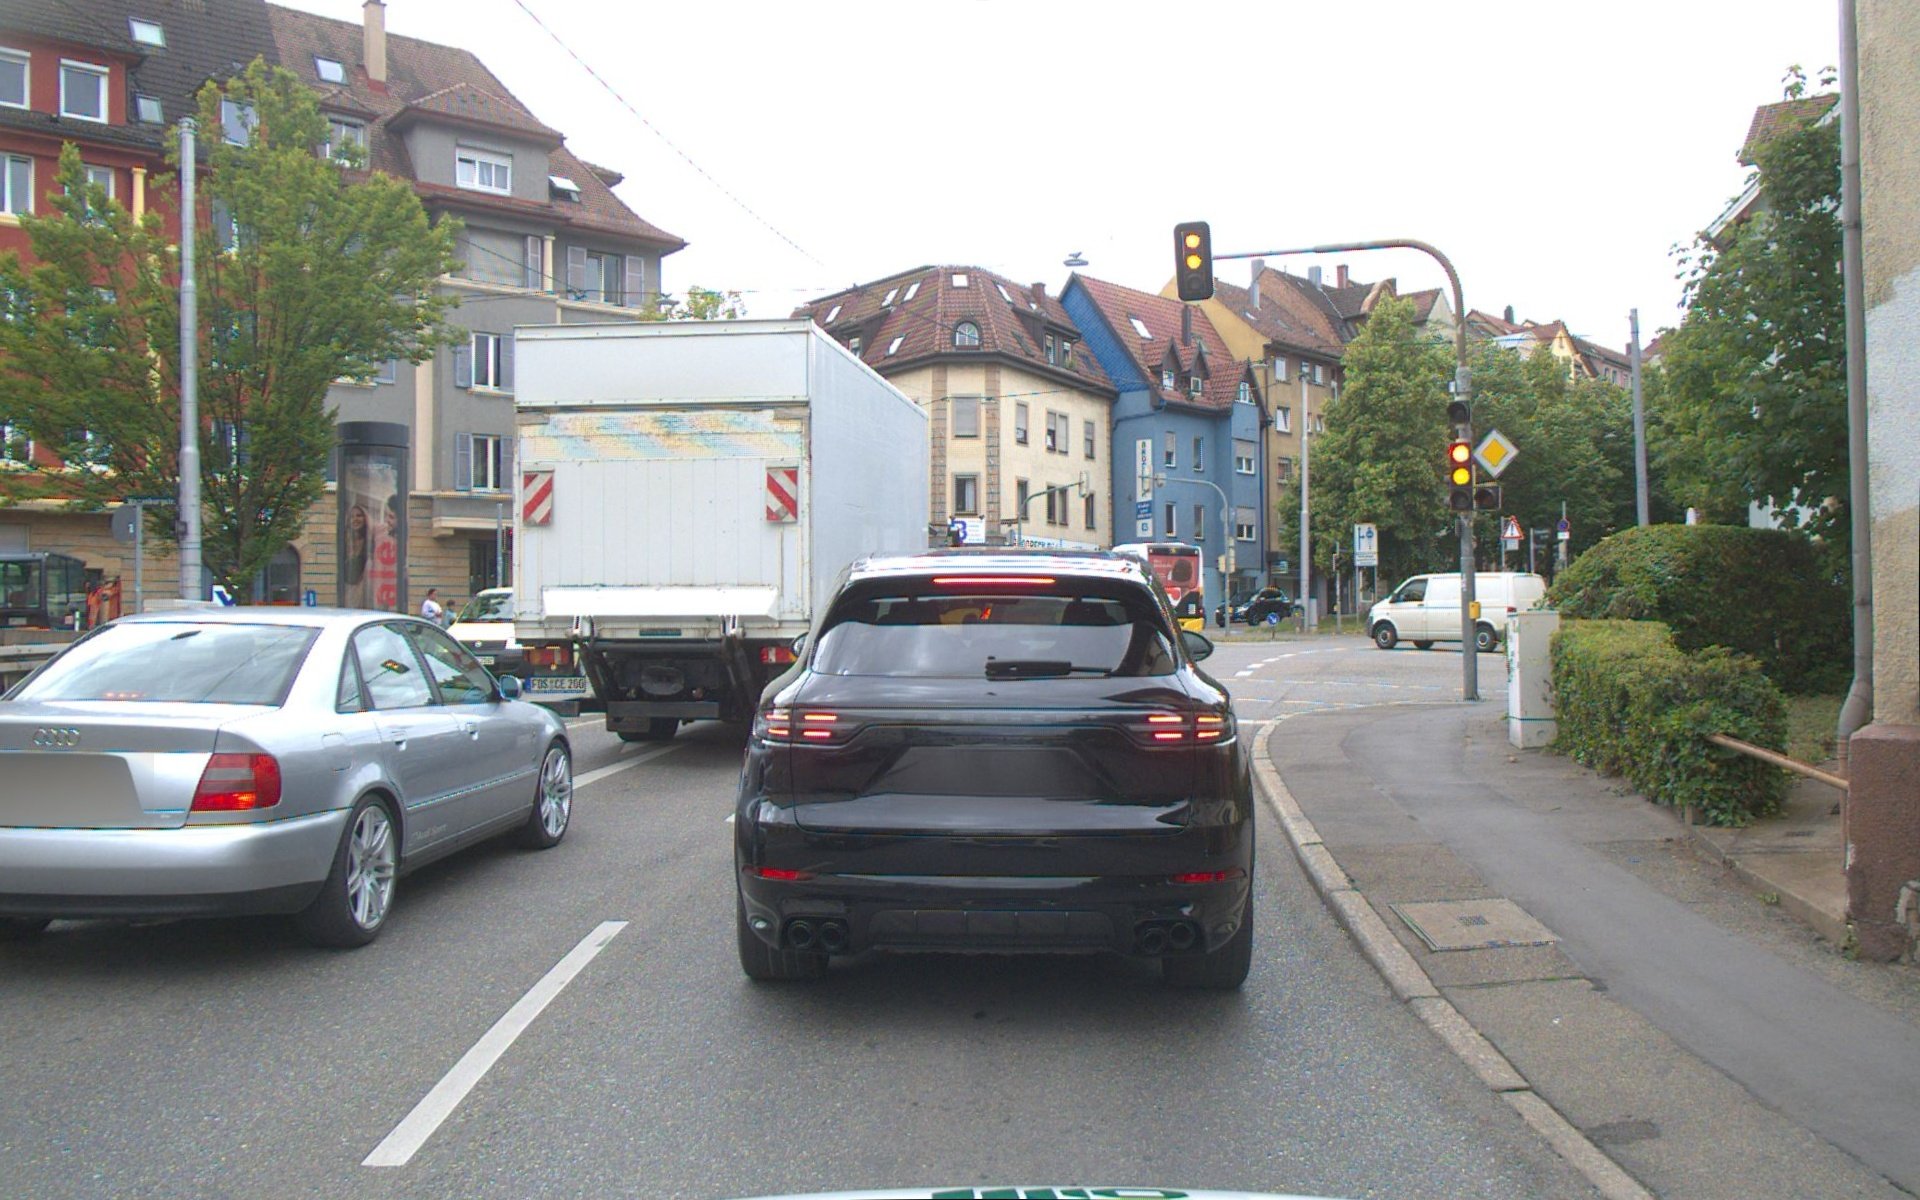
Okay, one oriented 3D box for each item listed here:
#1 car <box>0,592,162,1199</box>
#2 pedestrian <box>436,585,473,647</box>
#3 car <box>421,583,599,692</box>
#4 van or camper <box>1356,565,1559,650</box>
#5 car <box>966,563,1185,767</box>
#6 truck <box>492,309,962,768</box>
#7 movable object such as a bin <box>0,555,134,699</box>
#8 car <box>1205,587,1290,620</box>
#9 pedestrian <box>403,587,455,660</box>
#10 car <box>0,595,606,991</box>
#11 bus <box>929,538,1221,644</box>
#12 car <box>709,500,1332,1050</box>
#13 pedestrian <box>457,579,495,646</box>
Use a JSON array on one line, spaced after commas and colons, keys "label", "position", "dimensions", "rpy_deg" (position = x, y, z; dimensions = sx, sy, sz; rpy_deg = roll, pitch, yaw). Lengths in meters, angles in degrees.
[{"label": "car", "position": [-2.710, 0.721, 1.211], "dimensions": [1.953, 1.454, 4.841], "rpy_deg": [0, 0, -1]}, {"label": "pedestrian", "position": [-11.301, 0.351, 36.981], "dimensions": [0.563, 1.361, 0.583], "rpy_deg": [0, 0, 28]}, {"label": "car", "position": [-6.895, 0.548, 25.691], "dimensions": [1.564, 1.544, 3.461], "rpy_deg": [-1, 0, 4]}, {"label": "van or camper", "position": [12.679, 0.184, 42.424], "dimensions": [1.979, 2.049, 4.766], "rpy_deg": [1, 0, -37]}, {"label": "car", "position": [1.148, 0.520, 14.868], "dimensions": [1.613, 1.583, 3.586], "rpy_deg": [1, 0, 9]}, {"label": "truck", "position": [-1.873, -0.525, 17.334], "dimensions": [2.667, 3.606, 8.428], "rpy_deg": [1, 0, 7]}, {"label": "movable object such as a bin", "position": [-13.958, 0.382, 25.483], "dimensions": [1.351, 2.049, 3.525], "rpy_deg": [-1, 0, -12]}, {"label": "car", "position": [13.336, 0.172, 76.500], "dimensions": [1.841, 1.441, 4.673], "rpy_deg": [0, -1, 40]}, {"label": "pedestrian", "position": [-11.589, 0.514, 36.107], "dimensions": [0.777, 1.573, 0.738], "rpy_deg": [-1, 0, 26]}, {"label": "car", "position": [-3.093, 0.688, 7.973], "dimensions": [1.594, 1.389, 4.130], "rpy_deg": [-1, 0, 4]}, {"label": "bus", "position": [3.472, -0.191, 55.157], "dimensions": [3.128, 3.150, 12.010], "rpy_deg": [-1, -1, -33]}, {"label": "car", "position": [0.168, 0.552, 7.603], "dimensions": [1.990, 1.753, 4.499], "rpy_deg": [1, 0, -1]}, {"label": "pedestrian", "position": [-10.992, 0.272, 37.553], "dimensions": [0.513, 1.513, 0.652], "rpy_deg": [0, 0, 32]}]
